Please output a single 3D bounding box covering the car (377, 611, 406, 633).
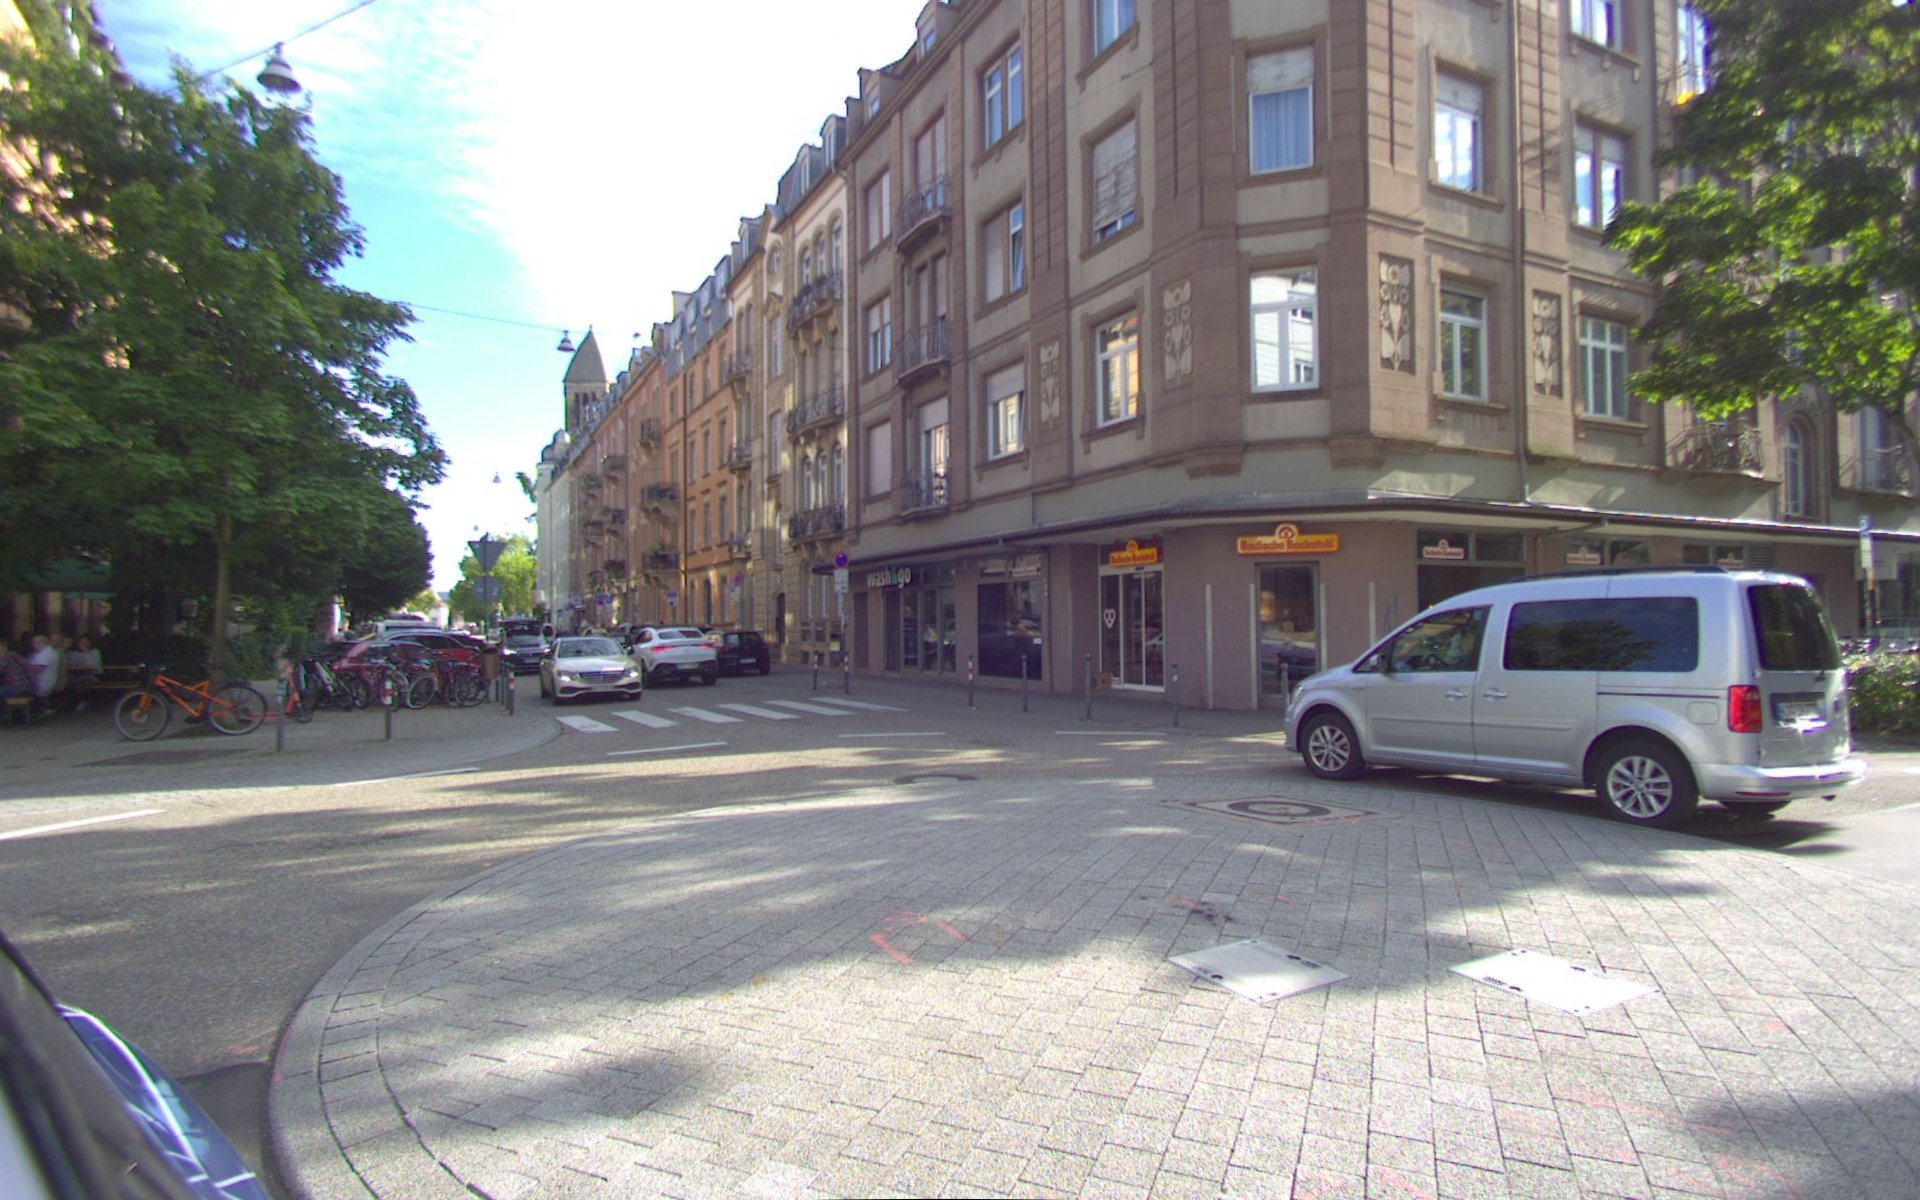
[{"bbox_3d":[-48.458,1.912,86.265,1.820,1.747,4.011,-1,-1,-33],"label":"car"}]

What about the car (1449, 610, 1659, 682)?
[{"bbox_3d":[14.365,1.101,24.657,1.738,1.563,4.008,-1,-1,-37],"label":"car"}]

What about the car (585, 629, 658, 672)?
[{"bbox_3d":[-12.441,1.811,37.053,1.740,1.392,4.465,-3,0,-28],"label":"car"}]

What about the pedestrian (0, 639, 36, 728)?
[{"bbox_3d":[-14.538,1.256,15.347,0.718,1.325,0.522,2,-4,-40],"label":"pedestrian"}]

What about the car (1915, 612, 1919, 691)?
[{"bbox_3d":[19.526,0.900,17.716,1.550,1.488,3.711,-2,-1,-25],"label":"car"}]

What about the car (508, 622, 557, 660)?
[{"bbox_3d":[-22.941,2.176,54.218,1.912,1.894,4.851,-1,-1,-29],"label":"car"}]

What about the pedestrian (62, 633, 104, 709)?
[{"bbox_3d":[-15.915,1.282,18.367,0.621,1.337,0.461,-1,-2,38],"label":"pedestrian"}]

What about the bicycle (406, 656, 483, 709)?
[{"bbox_3d":[-10.499,1.669,20.606,1.858,0.993,0.467,0,-3,32],"label":"bicycle"}]

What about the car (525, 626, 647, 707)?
[{"bbox_3d":[-8.788,1.478,23.514,1.912,1.609,4.851,-1,-2,-29],"label":"car"}]

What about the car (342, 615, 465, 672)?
[{"bbox_3d":[-25.999,2.011,47.411,1.992,2.441,4.691,-3,-1,29],"label":"car"}]

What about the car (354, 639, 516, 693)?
[{"bbox_3d":[-14.039,1.754,27.221,1.512,1.333,3.540,-2,-4,39],"label":"car"}]

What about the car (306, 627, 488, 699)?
[{"bbox_3d":[-13.654,1.524,24.691,1.512,1.628,3.540,-2,-4,39],"label":"car"}]

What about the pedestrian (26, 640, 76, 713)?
[{"bbox_3d":[-15.931,1.327,17.732,0.621,1.241,0.541,-1,-1,38],"label":"pedestrian"}]

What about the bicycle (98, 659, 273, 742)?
[{"bbox_3d":[-10.715,1.369,14.087,1.825,1.043,0.686,1,-2,-29],"label":"bicycle"}]

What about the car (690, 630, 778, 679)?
[{"bbox_3d":[-7.130,1.662,31.684,1.695,1.379,3.841,-1,-1,-28],"label":"car"}]

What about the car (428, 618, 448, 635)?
[{"bbox_3d":[-61.722,3.191,119.674,1.965,1.903,4.013,-2,-1,-26],"label":"car"}]

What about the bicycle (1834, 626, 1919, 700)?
[{"bbox_3d":[15.075,0.998,16.505,2.390,1.143,0.480,0,-2,-30],"label":"bicycle"}]

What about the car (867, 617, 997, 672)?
[{"bbox_3d":[-0.920,1.475,34.310,3.935,1.633,2.004,-1,-1,-37],"label":"car"}]

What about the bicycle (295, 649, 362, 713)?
[{"bbox_3d":[-11.821,1.489,18.928,1.673,1.109,0.469,-1,-3,38],"label":"bicycle"}]

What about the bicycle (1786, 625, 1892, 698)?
[{"bbox_3d":[14.782,1.007,17.001,2.390,1.143,0.581,0,-2,-30],"label":"bicycle"}]

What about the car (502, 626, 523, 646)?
[{"bbox_3d":[-45.761,3.676,103.463,1.698,1.947,4.024,0,-2,-27],"label":"car"}]

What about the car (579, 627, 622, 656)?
[{"bbox_3d":[-18.768,2.146,52.765,1.598,1.389,3.773,0,-2,-28],"label":"car"}]

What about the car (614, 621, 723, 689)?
[{"bbox_3d":[-8.178,1.507,28.109,1.965,1.647,4.859,-1,-2,-27],"label":"car"}]

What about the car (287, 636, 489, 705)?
[{"bbox_3d":[-12.522,1.534,22.322,1.511,1.391,3.543,-1,-4,37],"label":"car"}]

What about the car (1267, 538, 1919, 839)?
[{"bbox_3d":[4.845,0.628,8.422,1.803,1.805,4.344,1,-3,-28],"label":"car"}]

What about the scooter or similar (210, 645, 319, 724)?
[{"bbox_3d":[-10.975,1.326,16.003,1.272,1.220,0.557,0,-4,-11],"label":"scooter or similar"}]

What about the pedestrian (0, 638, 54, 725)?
[{"bbox_3d":[-14.731,1.265,15.871,0.718,1.325,0.522,2,-4,-40],"label":"pedestrian"}]

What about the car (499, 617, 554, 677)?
[{"bbox_3d":[-16.117,1.699,37.544,1.763,2.079,4.013,0,-2,-25],"label":"car"}]

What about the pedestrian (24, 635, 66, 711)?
[{"bbox_3d":[-16.585,1.307,18.342,0.621,1.337,0.461,-1,-2,38],"label":"pedestrian"}]

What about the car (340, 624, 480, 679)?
[{"bbox_3d":[-17.339,1.645,32.000,1.512,1.624,3.540,-2,-4,39],"label":"car"}]

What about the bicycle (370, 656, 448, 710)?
[{"bbox_3d":[-10.981,1.634,20.144,1.858,0.993,0.467,0,-3,32],"label":"bicycle"}]

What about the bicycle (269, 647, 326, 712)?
[{"bbox_3d":[-12.121,1.433,18.506,1.675,1.109,0.428,-1,-3,42],"label":"bicycle"}]

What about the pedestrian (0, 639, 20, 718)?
[{"bbox_3d":[-16.528,1.338,17.320,0.621,1.311,0.541,-1,-1,38],"label":"pedestrian"}]

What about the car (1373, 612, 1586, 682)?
[{"bbox_3d":[12.001,1.069,23.591,1.738,1.441,4.008,-1,-1,-37],"label":"car"}]

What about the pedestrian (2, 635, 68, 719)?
[{"bbox_3d":[-15.031,1.243,16.464,0.718,1.325,0.609,2,-4,-40],"label":"pedestrian"}]

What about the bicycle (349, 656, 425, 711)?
[{"bbox_3d":[-11.113,1.599,19.593,1.832,0.993,0.413,0,-3,32],"label":"bicycle"}]

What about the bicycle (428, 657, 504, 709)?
[{"bbox_3d":[-10.257,1.700,20.979,1.858,0.993,0.467,0,-3,32],"label":"bicycle"}]

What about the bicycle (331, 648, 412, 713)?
[{"bbox_3d":[-11.113,1.496,19.100,1.832,1.152,0.470,0,-3,31],"label":"bicycle"}]

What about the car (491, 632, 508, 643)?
[{"bbox_3d":[-55.677,4.520,122.335,1.598,1.389,3.773,0,-2,-27],"label":"car"}]
